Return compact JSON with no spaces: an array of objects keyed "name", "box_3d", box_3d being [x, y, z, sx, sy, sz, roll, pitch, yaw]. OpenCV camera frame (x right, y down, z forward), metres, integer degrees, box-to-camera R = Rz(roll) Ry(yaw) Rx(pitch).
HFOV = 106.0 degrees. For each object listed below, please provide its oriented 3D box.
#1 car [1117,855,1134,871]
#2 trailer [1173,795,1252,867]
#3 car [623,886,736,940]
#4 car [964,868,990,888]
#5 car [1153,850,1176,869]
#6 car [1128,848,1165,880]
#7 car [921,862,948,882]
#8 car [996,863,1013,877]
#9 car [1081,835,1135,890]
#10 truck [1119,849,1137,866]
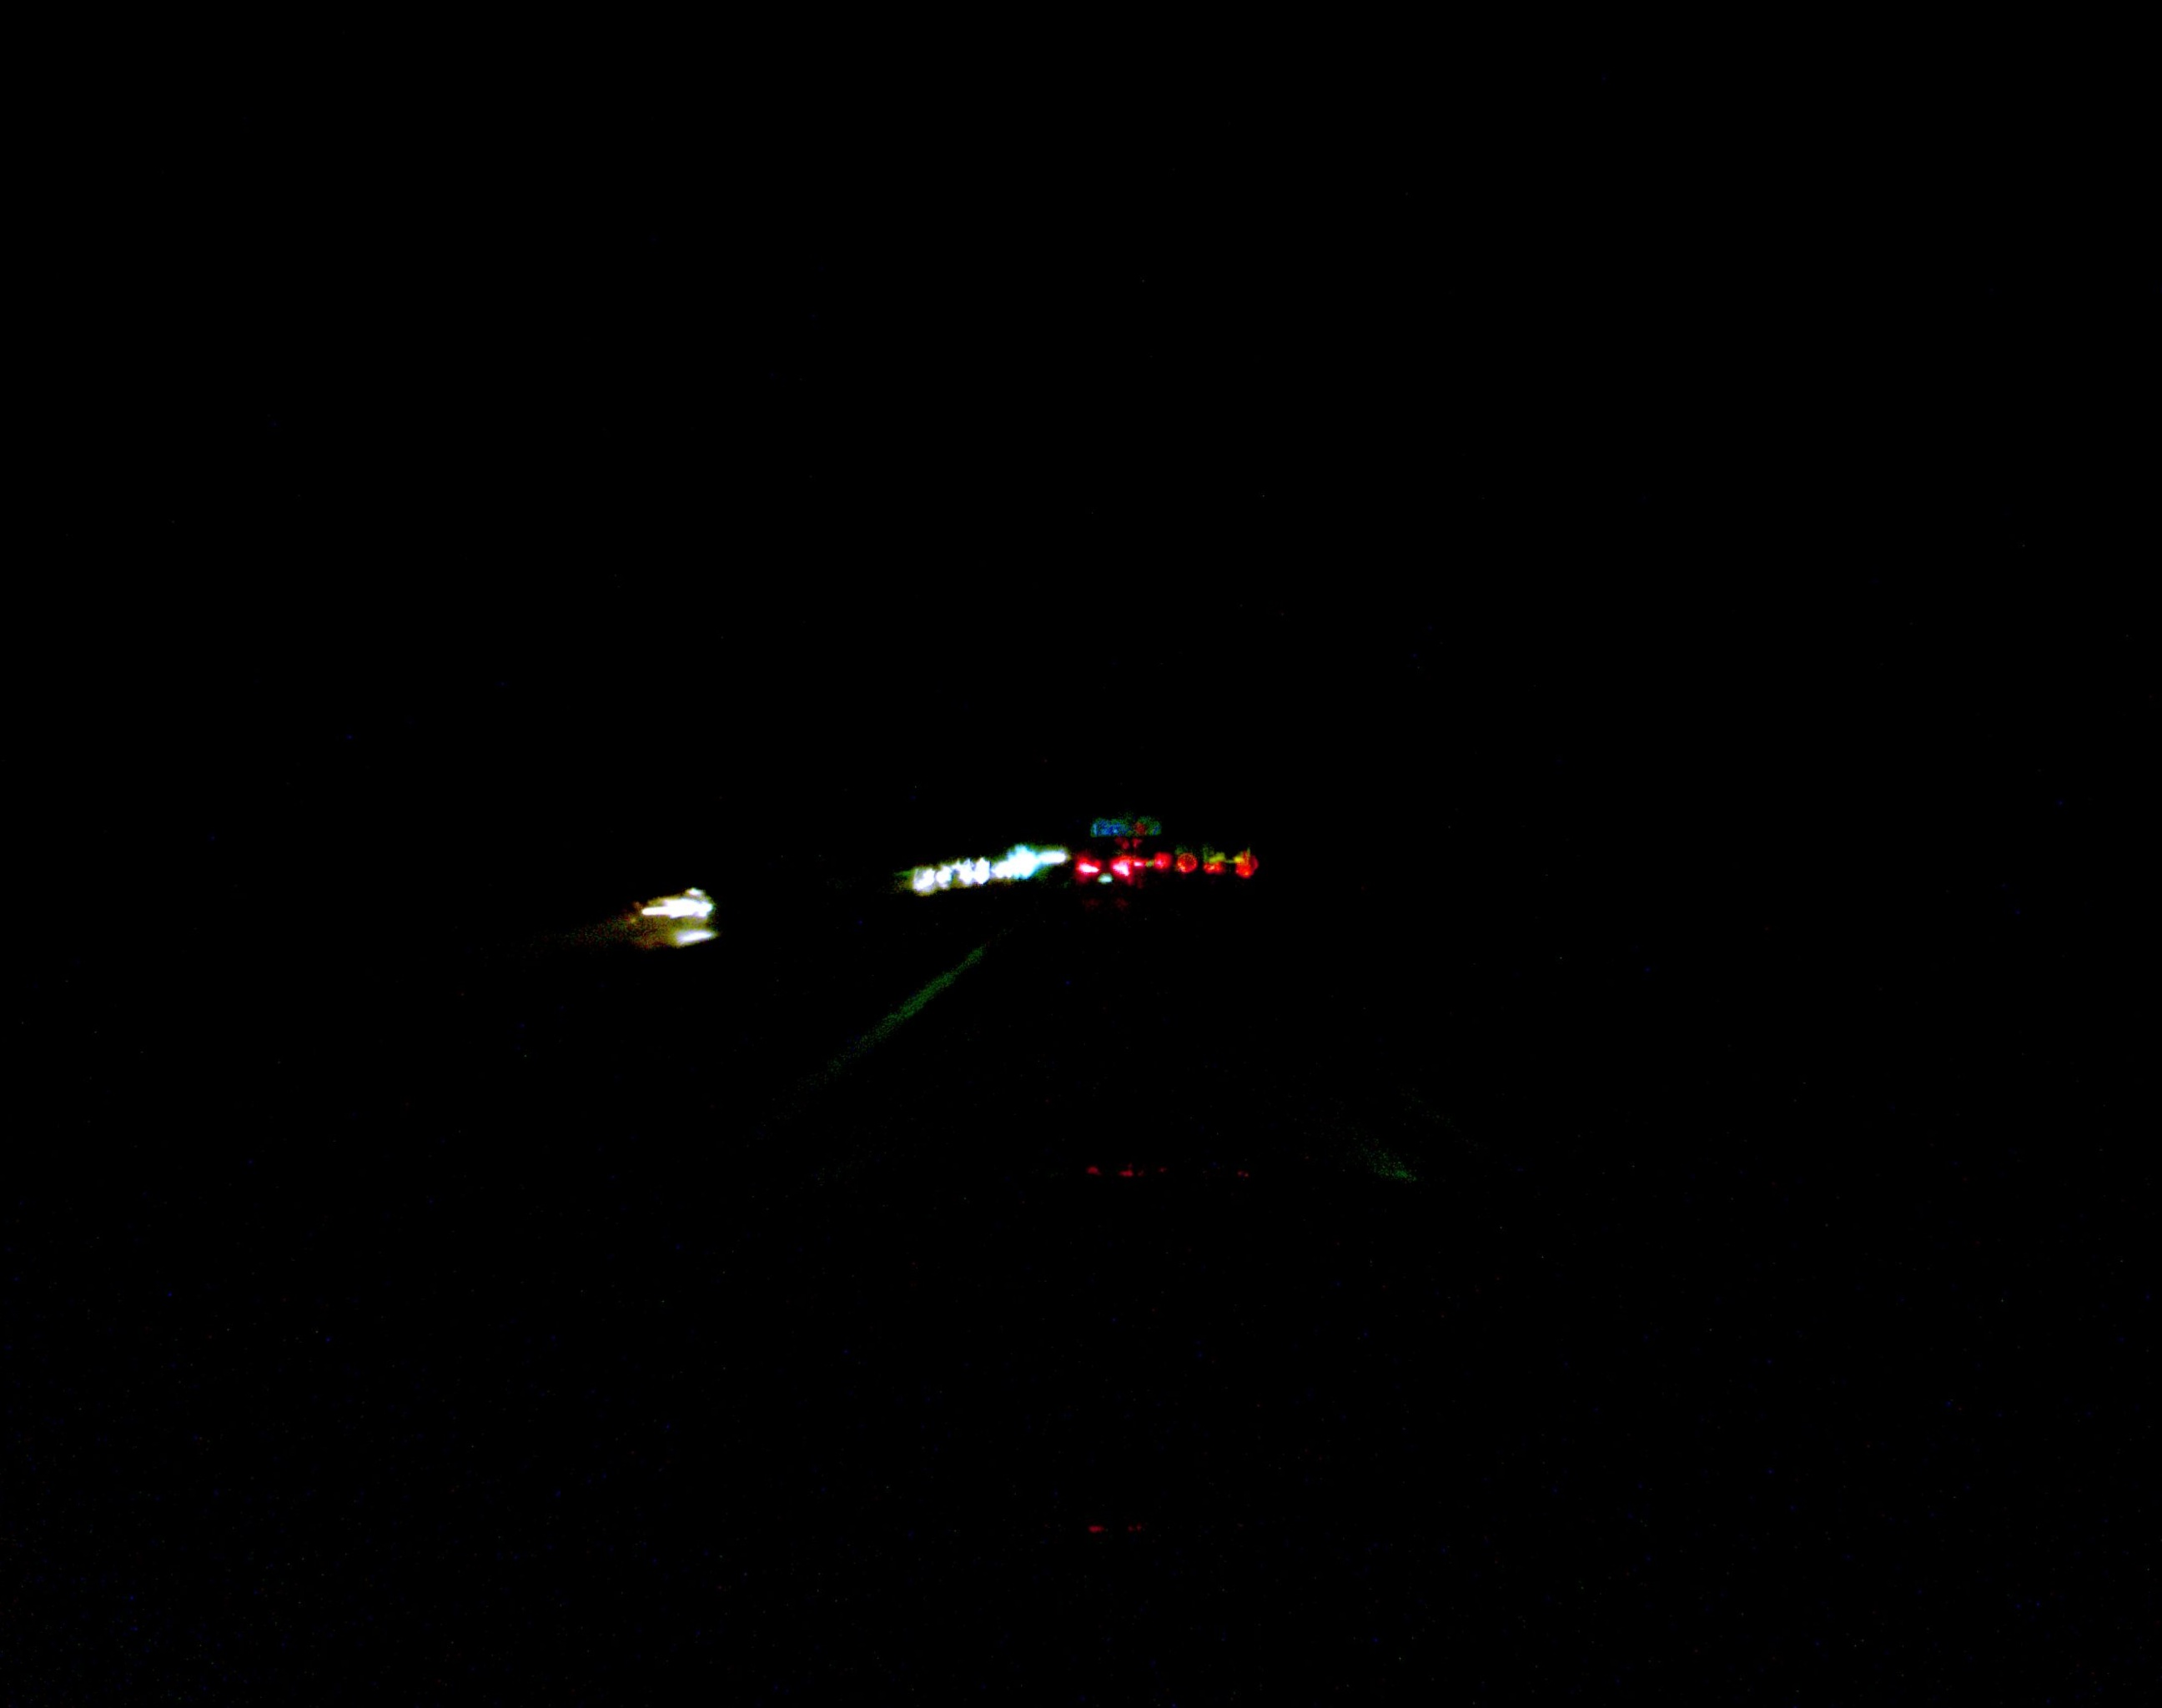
[{"name":"car","box_3d":[6.131,1.203,112.972,1.988,2.013,3.997,-3,0,-2]},{"name":"trailer","box_3d":[8.591,-1.329,55.289,3.031,4.108,13.828,-3,0,1]},{"name":"car","box_3d":[-15.345,2.205,31.426,1.909,1.684,4.508,-3,-1,2]},{"name":"car","box_3d":[-10.296,2.397,80.911,1.987,1.760,4.655,0,1,0]},{"name":"car","box_3d":[9.447,0.636,92.571,1.988,2.013,3.997,-3,0,-2]},{"name":"car","box_3d":[4.362,0.660,54.894,1.988,2.013,3.997,-3,0,-2]},{"name":"car","box_3d":[-14.798,1.814,82.445,1.988,1.815,5.091,0,1,-1]},{"name":"car","box_3d":[-10.474,2.146,111.849,1.988,1.760,3.998,0,1,-2]},{"name":"car","box_3d":[1.067,0.315,32.171,1.986,2.014,4.001,-1,0,2]},{"name":"truck","box_3d":[9.825,0.772,169.794,3.027,3.297,11.380,-3,0,0]}]
